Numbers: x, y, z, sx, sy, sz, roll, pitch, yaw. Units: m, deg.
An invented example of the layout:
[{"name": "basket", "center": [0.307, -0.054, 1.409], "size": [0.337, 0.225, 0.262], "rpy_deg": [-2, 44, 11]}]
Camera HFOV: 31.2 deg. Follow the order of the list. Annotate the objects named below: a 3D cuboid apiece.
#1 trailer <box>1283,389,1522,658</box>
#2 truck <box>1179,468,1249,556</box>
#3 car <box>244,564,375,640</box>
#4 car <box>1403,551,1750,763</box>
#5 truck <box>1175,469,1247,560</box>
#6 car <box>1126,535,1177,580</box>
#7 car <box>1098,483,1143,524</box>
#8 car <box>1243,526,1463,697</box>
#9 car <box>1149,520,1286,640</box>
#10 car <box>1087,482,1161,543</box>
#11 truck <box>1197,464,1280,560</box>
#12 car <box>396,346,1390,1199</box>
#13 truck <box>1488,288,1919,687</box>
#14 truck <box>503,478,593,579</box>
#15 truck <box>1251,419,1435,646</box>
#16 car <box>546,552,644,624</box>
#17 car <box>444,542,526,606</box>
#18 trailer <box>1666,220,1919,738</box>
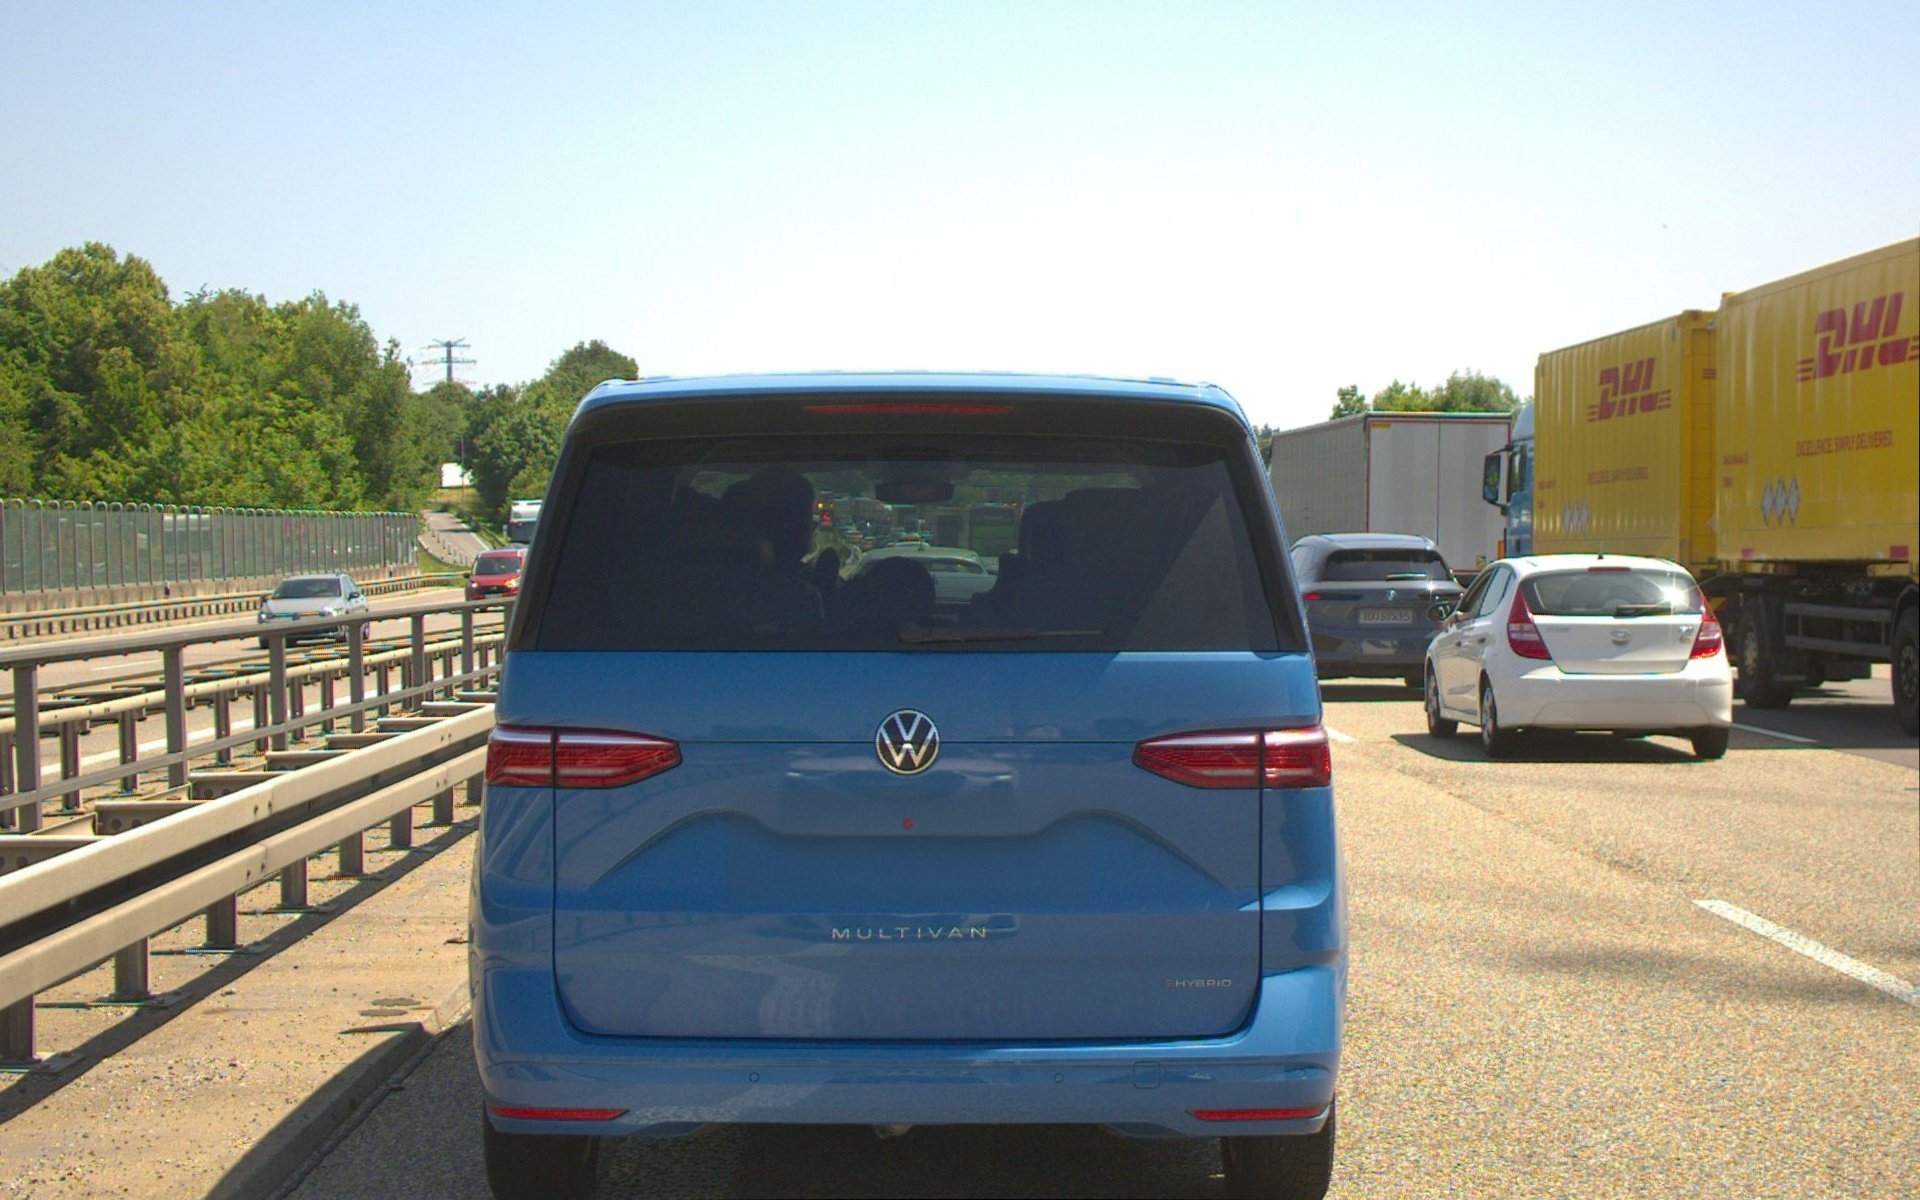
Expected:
[{"name": "trailer", "center": [8.146, -1.350, 64.740], "size": [3.026, 4.595, 10.925], "rpy_deg": [1, 0, 0]}, {"name": "truck", "center": [7.746, -2.665, 105.068], "size": [1.797, 2.587, 4.305], "rpy_deg": [1, 0, 0]}, {"name": "car", "center": [-13.295, 0.019, 70.507], "size": [1.871, 1.437, 4.386], "rpy_deg": [-2, 1, -1]}, {"name": "car", "center": [4.602, 0.390, 26.210], "size": [1.815, 1.465, 3.932], "rpy_deg": [1, 0, -2]}, {"name": "truck", "center": [7.241, -2.441, 99.604], "size": [1.742, 2.540, 4.210], "rpy_deg": [1, 0, 0]}, {"name": "car", "center": [7.624, -1.671, 137.417], "size": [1.797, 1.745, 3.943], "rpy_deg": [1, 0, 0]}, {"name": "car", "center": [7.235, -4.329, 155.082], "size": [1.797, 1.745, 3.943], "rpy_deg": [1, 0, 0]}, {"name": "car", "center": [4.077, 0.104, 36.247], "size": [1.815, 1.673, 3.932], "rpy_deg": [1, 0, 0]}, {"name": "car", "center": [4.301, -0.340, 58.030], "size": [1.962, 1.929, 3.932], "rpy_deg": [1, 0, 0]}, {"name": "car", "center": [4.824, -2.577, 101.462], "size": [1.919, 1.700, 4.000], "rpy_deg": [1, 0, 0]}, {"name": "truck", "center": [7.328, -2.295, 90.761], "size": [1.798, 2.441, 4.504], "rpy_deg": [1, 0, 0]}, {"name": "car", "center": [-0.147, 0.435, 8.756], "size": [1.930, 1.867, 4.000], "rpy_deg": [1, 0, 0]}, {"name": "truck", "center": [8.458, -1.189, 40.355], "size": [2.699, 4.074, 9.940], "rpy_deg": [1, 0, -1]}, {"name": "truck", "center": [-18.464, -3.173, 154.339], "size": [2.929, 4.279, 6.858], "rpy_deg": [-3, 0, 1]}, {"name": "truck", "center": [8.154, -1.405, 74.167], "size": [3.026, 4.595, 7.921], "rpy_deg": [1, 0, 0]}, {"name": "car", "center": [-8.702, -0.304, 82.143], "size": [1.871, 1.524, 3.609], "rpy_deg": [-6, 1, -1]}, {"name": "car", "center": [-14.078, -0.767, 102.035], "size": [1.839, 1.816, 4.748], "rpy_deg": [-1, 0, -1]}, {"name": "trailer", "center": [8.757, -0.964, 30.901], "size": [2.682, 4.074, 8.981], "rpy_deg": [1, 0, -2]}]
